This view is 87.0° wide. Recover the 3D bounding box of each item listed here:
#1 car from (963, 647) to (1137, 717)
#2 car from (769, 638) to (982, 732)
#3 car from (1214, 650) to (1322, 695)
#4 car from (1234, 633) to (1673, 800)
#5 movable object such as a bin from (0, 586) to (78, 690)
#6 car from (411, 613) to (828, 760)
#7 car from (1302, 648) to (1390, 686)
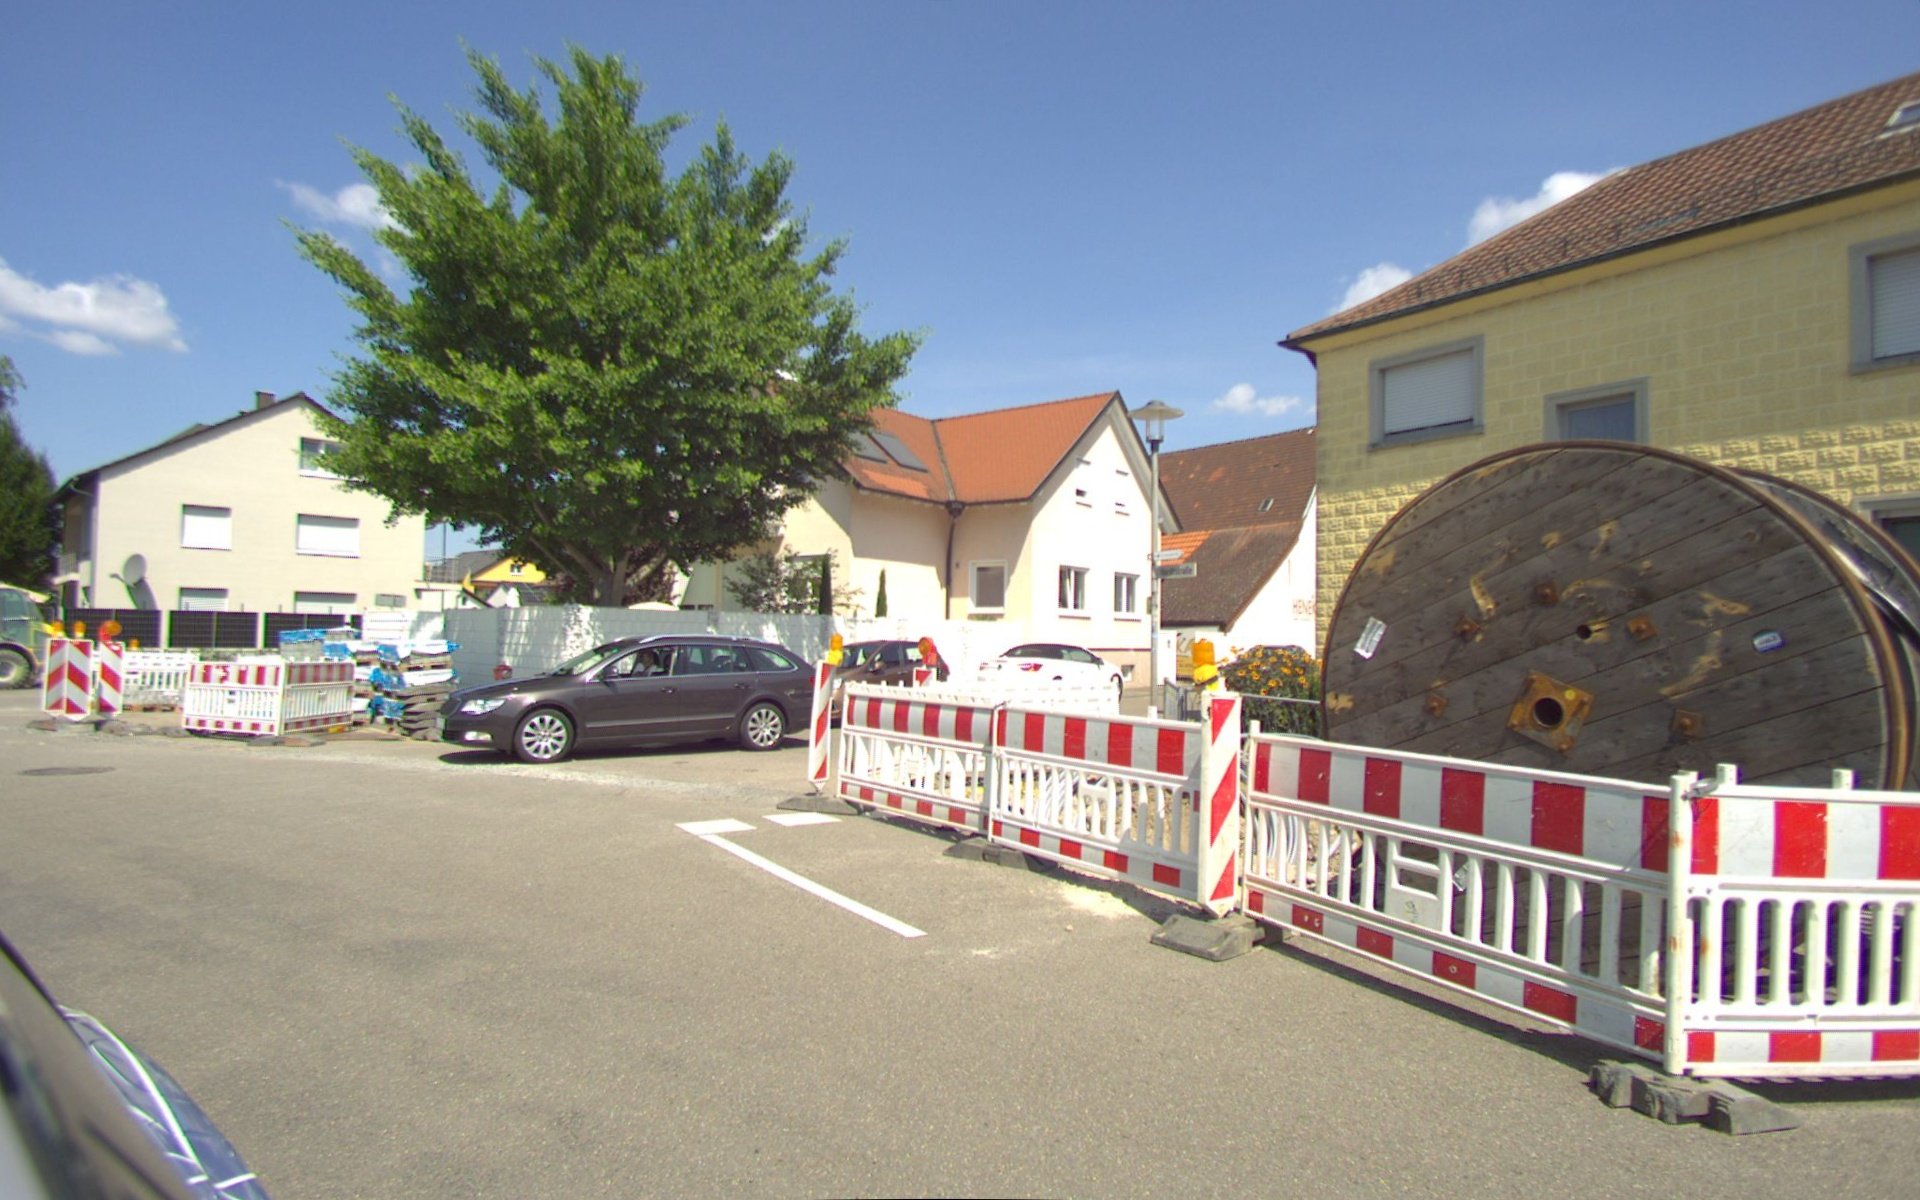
[{"bbox_3d":[2.214,1.829,23.630,1.898,1.439,4.678,-1,-3,37],"label":"car"},{"bbox_3d":[-1.453,1.518,18.705,1.715,1.544,3.985,-5,-5,36],"label":"car"},{"bbox_3d":[10.609,2.428,34.645,1.900,1.375,4.674,-1,-3,39],"label":"car"},{"bbox_3d":[5.276,1.147,11.614,1.761,1.497,4.487,1,-2,-22],"label":"car"},{"bbox_3d":[-24.413,0.930,24.013,5.152,2.471,2.002,2,-5,-43],"label":"movable object such as a bin"},{"bbox_3d":[-4.142,1.167,12.797,4.633,1.547,1.790,5,-9,-37],"label":"car"},{"bbox_3d":[15.457,2.636,40.412,1.901,1.375,4.353,-2,-3,41],"label":"car"}]
